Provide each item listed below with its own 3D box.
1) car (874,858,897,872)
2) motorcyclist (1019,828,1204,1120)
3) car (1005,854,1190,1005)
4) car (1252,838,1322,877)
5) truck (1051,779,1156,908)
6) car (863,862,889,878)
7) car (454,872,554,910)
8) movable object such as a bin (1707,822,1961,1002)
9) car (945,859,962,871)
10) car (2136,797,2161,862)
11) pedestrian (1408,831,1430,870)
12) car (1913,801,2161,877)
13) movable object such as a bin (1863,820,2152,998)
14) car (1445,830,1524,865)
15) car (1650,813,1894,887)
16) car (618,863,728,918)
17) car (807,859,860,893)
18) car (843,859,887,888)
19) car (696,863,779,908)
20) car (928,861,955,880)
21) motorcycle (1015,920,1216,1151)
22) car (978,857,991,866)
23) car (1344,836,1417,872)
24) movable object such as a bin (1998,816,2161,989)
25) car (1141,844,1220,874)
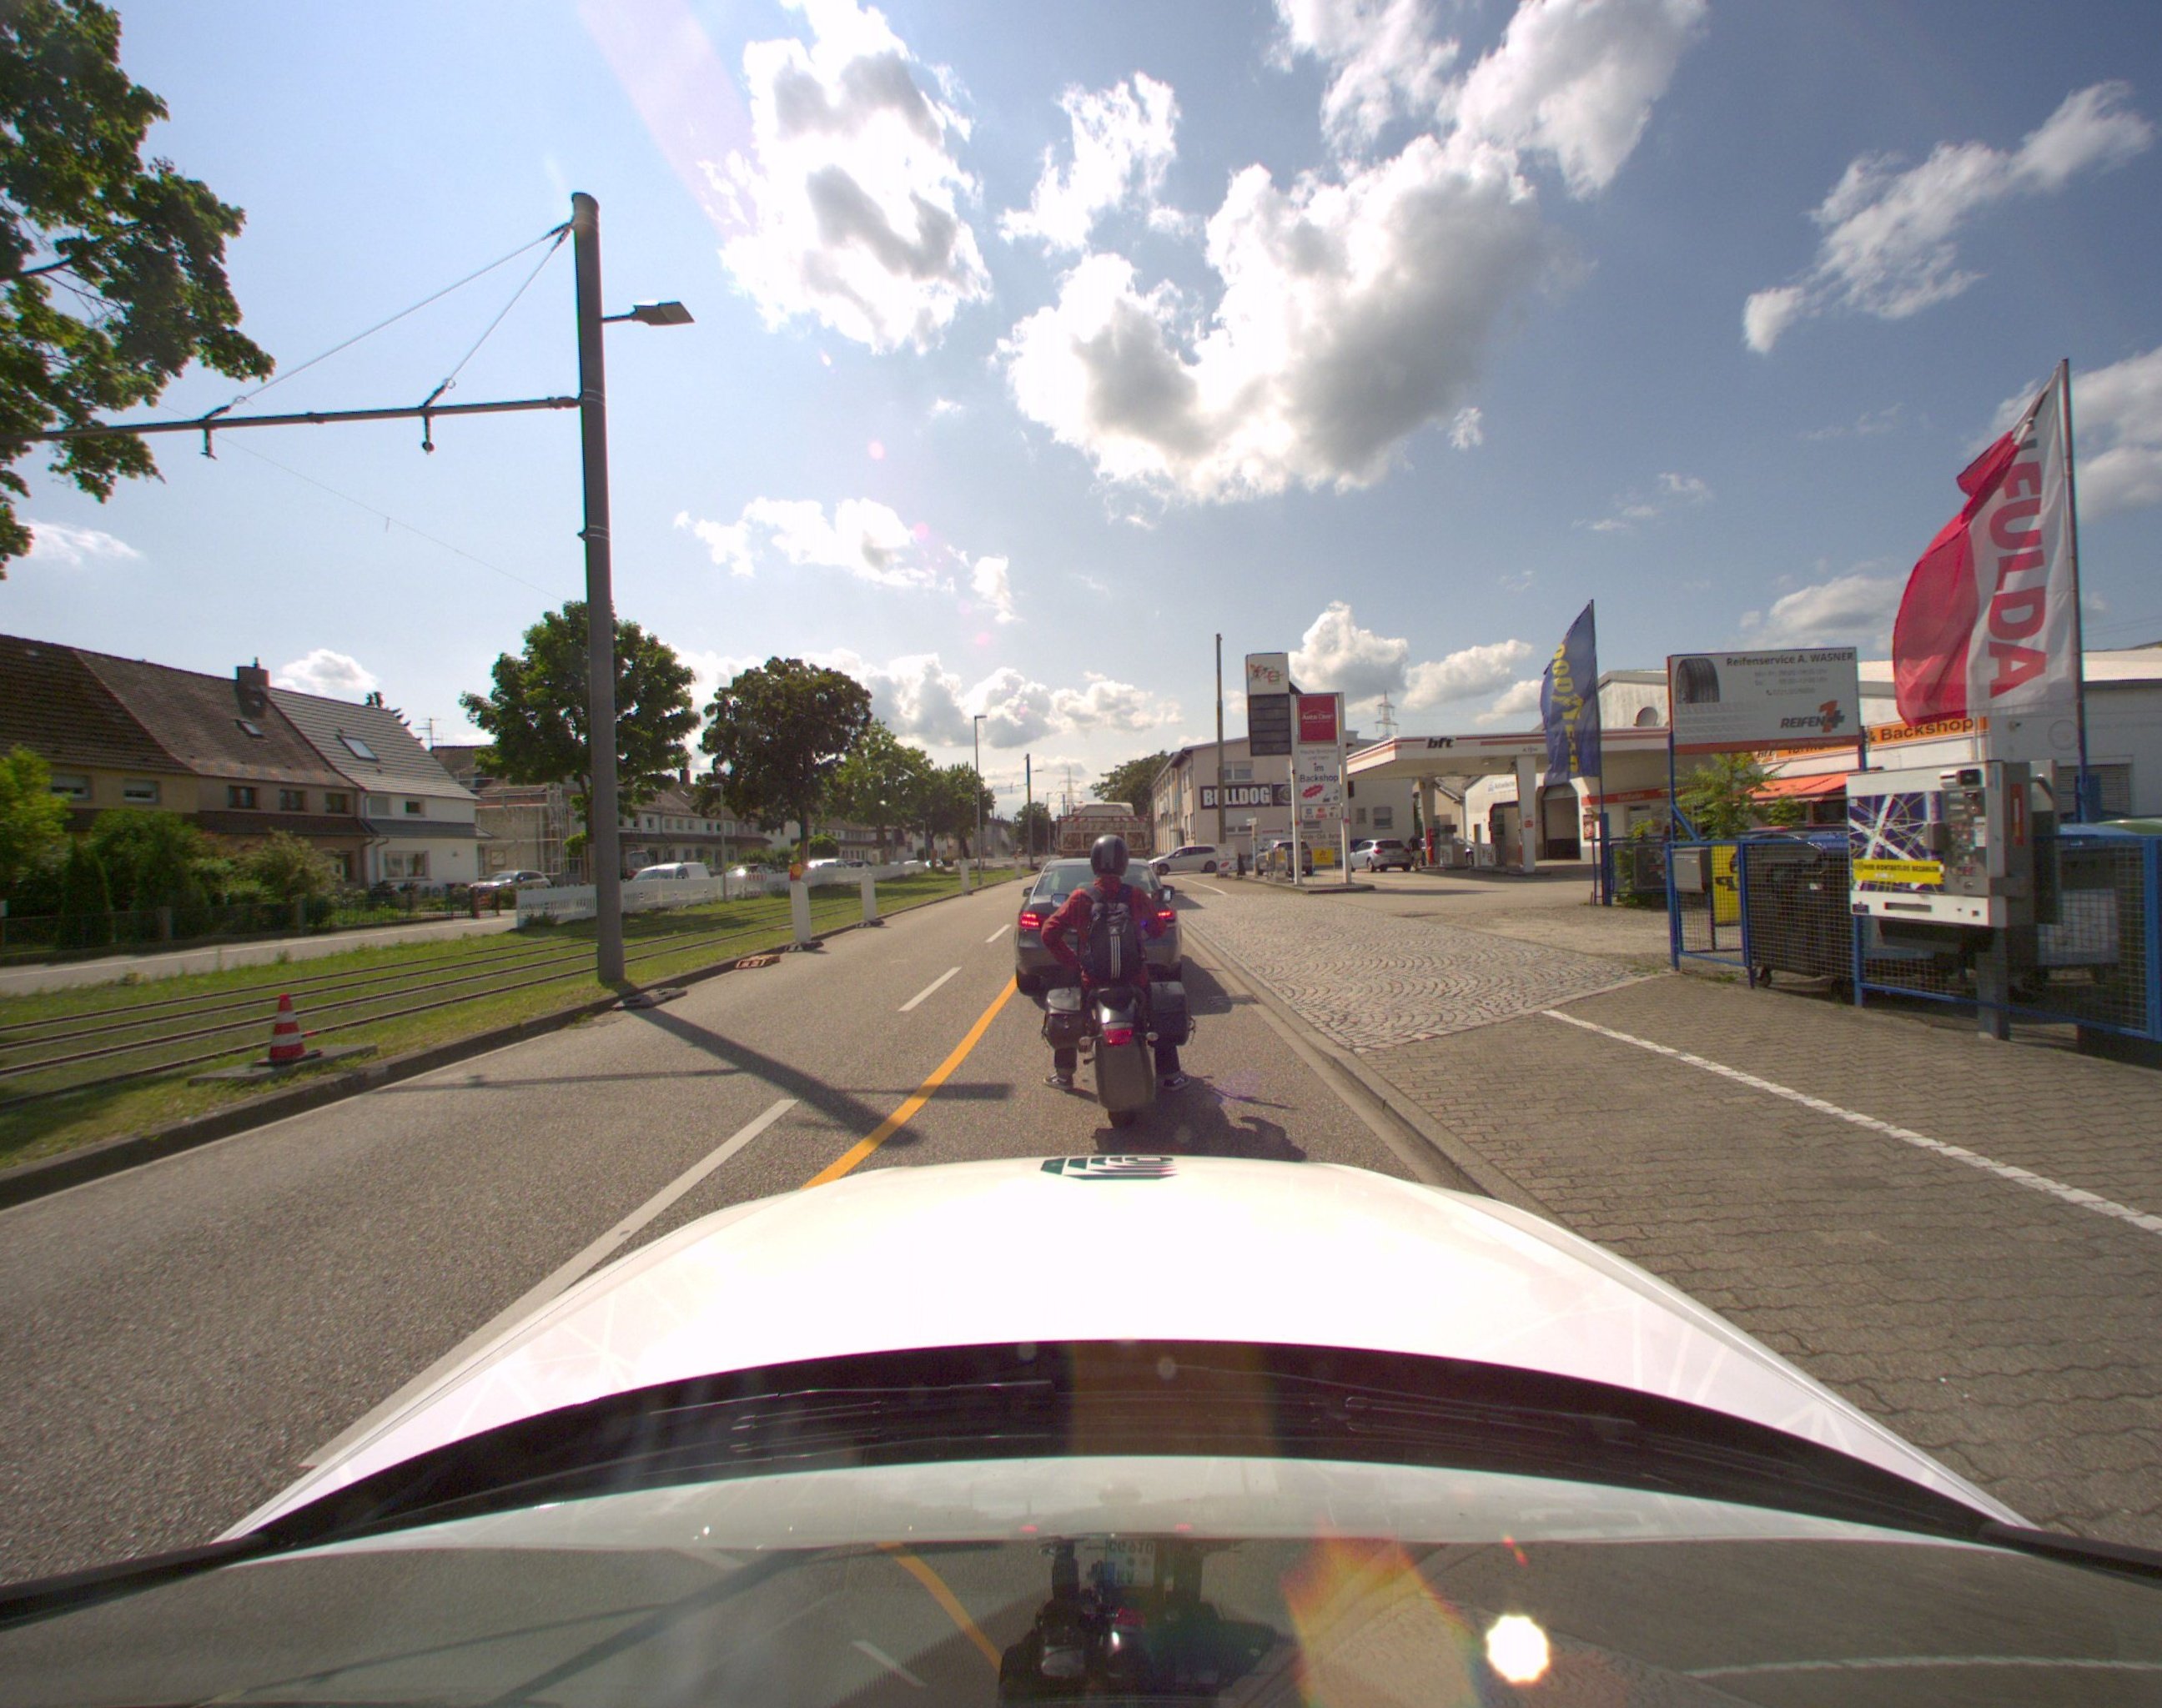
[{"bbox_3d":[-25.171,1.402,105.190,1.769,1.722,4.130,-2,0,2],"label":"car"},{"bbox_3d":[0.190,0.675,5.134,0.975,1.602,1.088,-2,0,1],"label":"motorcyclist"},{"bbox_3d":[0.222,0.748,10.031,1.816,1.452,4.002,0,0,2],"label":"car"},{"bbox_3d":[9.120,0.149,36.448,1.665,1.562,4.235,-2,0,-6],"label":"car"},{"bbox_3d":[0.733,-0.289,25.493,2.628,3.296,8.059,-2,0,2],"label":"truck"},{"bbox_3d":[-24.397,1.840,97.030,1.769,1.722,4.130,-2,0,2],"label":"car"},{"bbox_3d":[-27.434,1.727,38.881,1.769,1.519,4.002,-2,0,2],"label":"car"},{"bbox_3d":[6.699,0.477,7.353,1.104,1.436,1.244,-2,0,1],"label":"movable object such as a bin"},{"bbox_3d":[-19.648,1.635,125.905,1.769,1.722,4.130,-2,0,2],"label":"car"},{"bbox_3d":[26.534,-0.639,18.000,4.180,1.463,1.587,-2,0,2],"label":"car"},{"bbox_3d":[14.656,-0.133,35.314,0.701,1.656,0.551,-2,0,37],"label":"pedestrian"},{"bbox_3d":[21.530,-0.342,18.162,4.180,1.463,1.587,-2,0,2],"label":"car"},{"bbox_3d":[8.093,0.444,7.213,1.104,1.396,1.244,-2,0,1],"label":"movable object such as a bin"},{"bbox_3d":[18.917,-0.311,38.392,1.800,1.503,3.833,-2,0,0],"label":"car"},{"bbox_3d":[15.782,-0.090,18.754,4.180,1.463,1.587,-2,0,2],"label":"car"},{"bbox_3d":[-15.460,1.317,31.146,1.769,1.821,4.366,-2,0,2],"label":"car"},{"bbox_3d":[-15.063,1.328,49.851,1.769,1.867,4.130,-2,0,2],"label":"car"},{"bbox_3d":[-14.804,1.336,56.028,1.769,1.805,4.130,-2,0,2],"label":"car"},{"bbox_3d":[-15.405,1.350,36.788,1.769,1.774,4.230,-2,0,2],"label":"car"},{"bbox_3d":[-13.734,1.632,80.444,1.769,1.722,4.130,-2,0,2],"label":"car"},{"bbox_3d":[0.215,1.024,5.438,0.975,0.897,2.654,-2,0,2],"label":"motorcycle"},{"bbox_3d":[-19.117,1.530,161.342,1.769,1.722,4.252,-2,0,2],"label":"car"},{"bbox_3d":[13.480,-0.010,36.915,1.800,1.503,3.832,-2,0,-1],"label":"car"},{"bbox_3d":[9.496,0.373,7.125,1.397,1.396,1.338,-2,0,1],"label":"movable object such as a bin"},{"bbox_3d":[5.722,0.289,47.094,4.230,1.543,1.667,-2,0,-10],"label":"car"}]
